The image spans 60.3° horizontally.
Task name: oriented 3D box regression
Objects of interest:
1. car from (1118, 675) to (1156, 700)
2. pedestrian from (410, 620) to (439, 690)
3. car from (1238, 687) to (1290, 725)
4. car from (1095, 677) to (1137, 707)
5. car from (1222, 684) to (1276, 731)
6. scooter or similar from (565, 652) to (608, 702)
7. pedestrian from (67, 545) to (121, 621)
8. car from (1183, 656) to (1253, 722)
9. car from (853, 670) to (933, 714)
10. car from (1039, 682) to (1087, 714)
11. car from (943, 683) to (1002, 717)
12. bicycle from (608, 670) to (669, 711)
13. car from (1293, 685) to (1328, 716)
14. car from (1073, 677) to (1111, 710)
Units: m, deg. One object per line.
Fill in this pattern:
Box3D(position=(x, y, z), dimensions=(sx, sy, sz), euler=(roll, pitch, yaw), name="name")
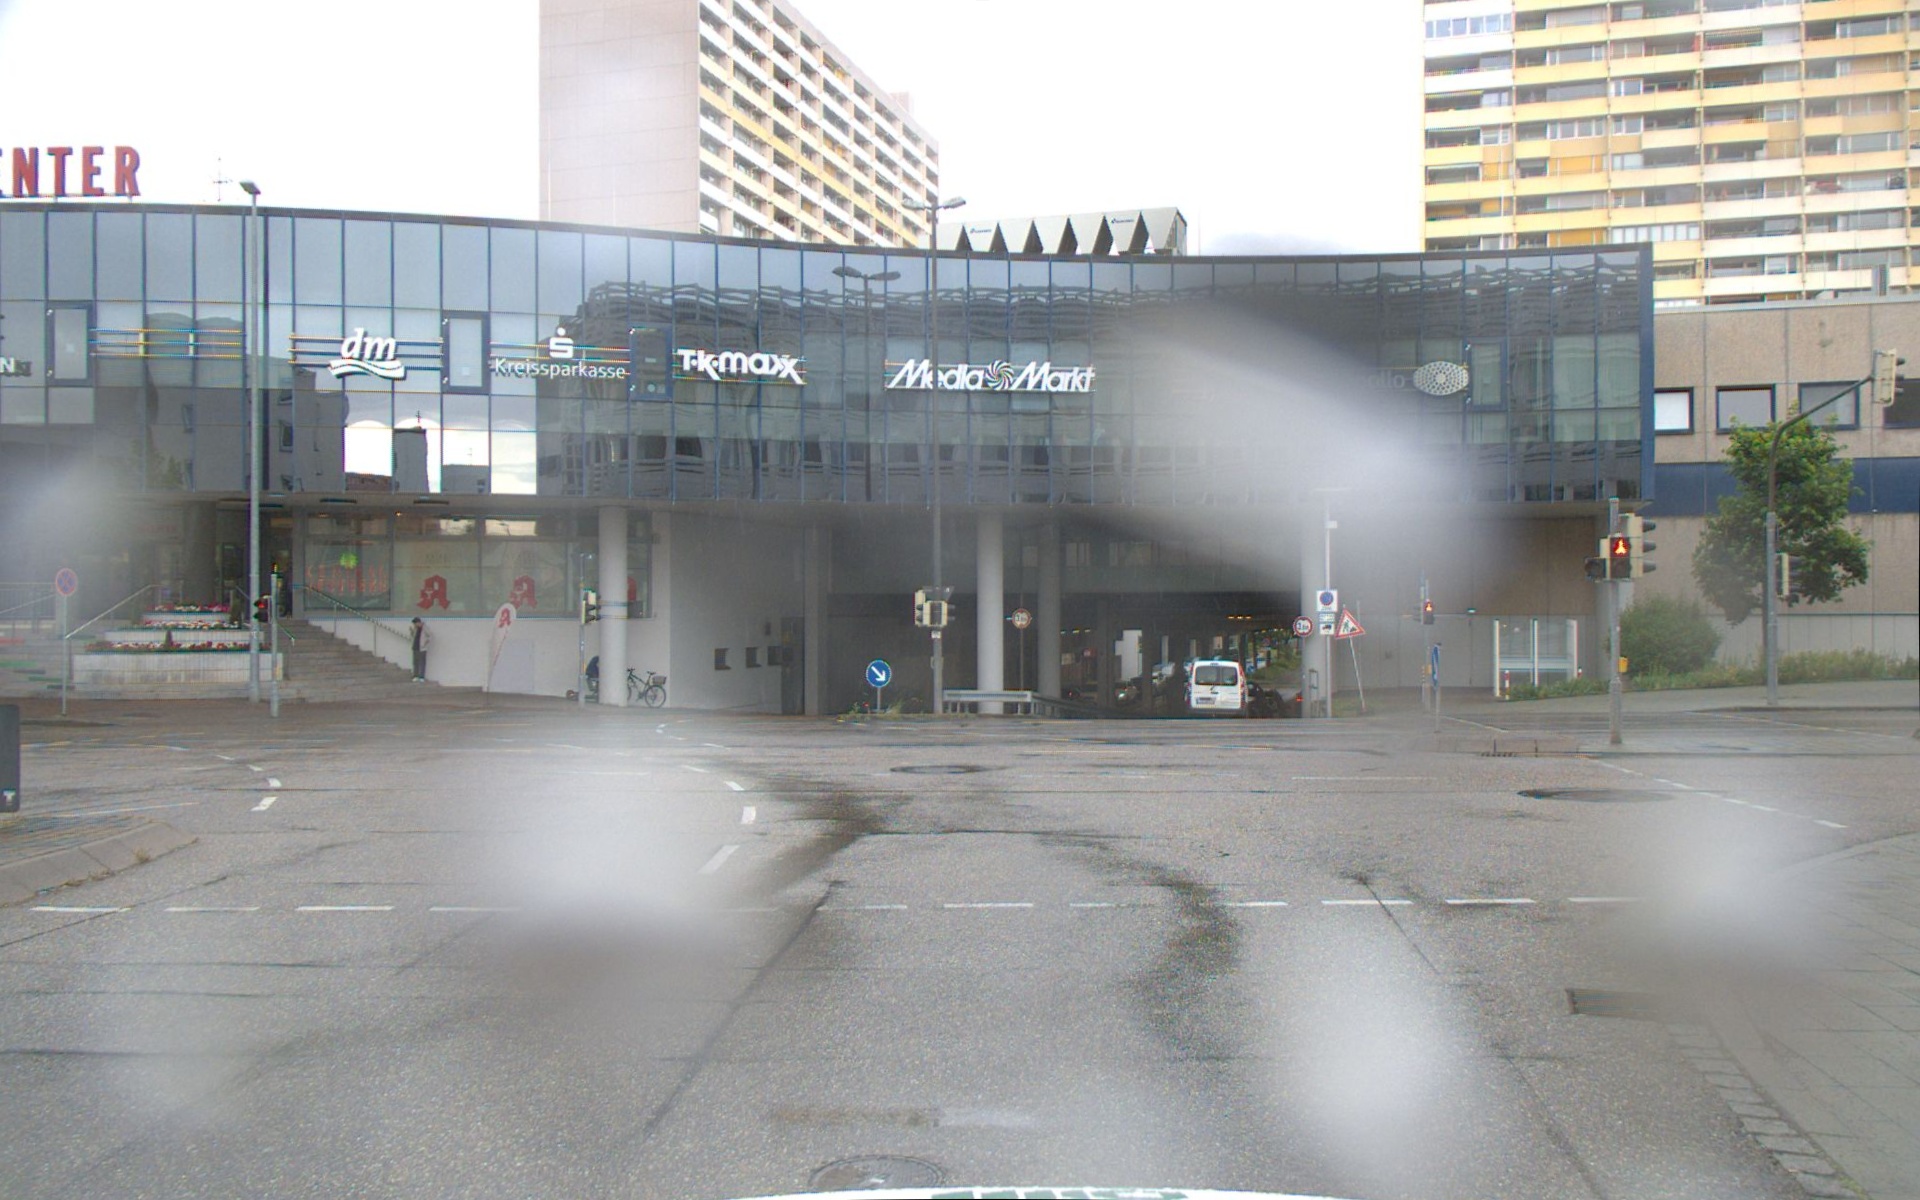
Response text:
Box3D(position=(11.686, 5.771, 109.133), dimensions=(1.951, 1.489, 4.002), euler=(-1, -2, 14), name="car")
Box3D(position=(-14.974, 1.524, 46.227), dimensions=(0.643, 1.942, 0.593), euler=(1, -1, -9), name="pedestrian")
Box3D(position=(12.059, 4.214, 65.475), dimensions=(1.741, 1.425, 4.002), euler=(-1, -4, 14), name="car")
Box3D(position=(9.584, 5.602, 101.240), dimensions=(1.951, 1.693, 4.002), euler=(1, -1, 14), name="car")
Box3D(position=(10.616, 3.939, 60.576), dimensions=(1.598, 1.640, 4.265), euler=(-1, -4, 14), name="car")
Box3D(position=(-10.700, 2.209, 47.427), dimensions=(1.147, 1.397, 0.487), euler=(2, -1, -16), name="scooter or similar")
Box3D(position=(-23.782, -0.451, 45.416), dimensions=(0.812, 2.049, 0.953), euler=(1, -1, 17), name="pedestrian")
Box3D(position=(7.549, 2.587, 48.227), dimensions=(1.884, 1.829, 4.299), euler=(-1, -3, 10), name="car")
Box3D(position=(-2.481, 3.475, 61.981), dimensions=(1.852, 1.496, 4.029), euler=(-1, -6, 15), name="car")
Box3D(position=(5.670, 5.378, 90.788), dimensions=(1.874, 1.616, 3.941), euler=(-1, -2, 14), name="car")
Box3D(position=(0.574, 4.458, 73.838), dimensions=(1.733, 1.490, 3.878), euler=(-1, -4, 14), name="car")
Box3D(position=(-9.284, 2.608, 47.785), dimensions=(1.566, 1.036, 0.447), euler=(7, -4, -32), name="bicycle")
Box3D(position=(19.222, 5.507, 90.683), dimensions=(1.847, 1.517, 3.844), euler=(1, -1, 13), name="car")
Box3D(position=(7.657, 5.388, 95.880), dimensions=(1.797, 1.758, 4.003), euler=(0, -2, 10), name="car")
